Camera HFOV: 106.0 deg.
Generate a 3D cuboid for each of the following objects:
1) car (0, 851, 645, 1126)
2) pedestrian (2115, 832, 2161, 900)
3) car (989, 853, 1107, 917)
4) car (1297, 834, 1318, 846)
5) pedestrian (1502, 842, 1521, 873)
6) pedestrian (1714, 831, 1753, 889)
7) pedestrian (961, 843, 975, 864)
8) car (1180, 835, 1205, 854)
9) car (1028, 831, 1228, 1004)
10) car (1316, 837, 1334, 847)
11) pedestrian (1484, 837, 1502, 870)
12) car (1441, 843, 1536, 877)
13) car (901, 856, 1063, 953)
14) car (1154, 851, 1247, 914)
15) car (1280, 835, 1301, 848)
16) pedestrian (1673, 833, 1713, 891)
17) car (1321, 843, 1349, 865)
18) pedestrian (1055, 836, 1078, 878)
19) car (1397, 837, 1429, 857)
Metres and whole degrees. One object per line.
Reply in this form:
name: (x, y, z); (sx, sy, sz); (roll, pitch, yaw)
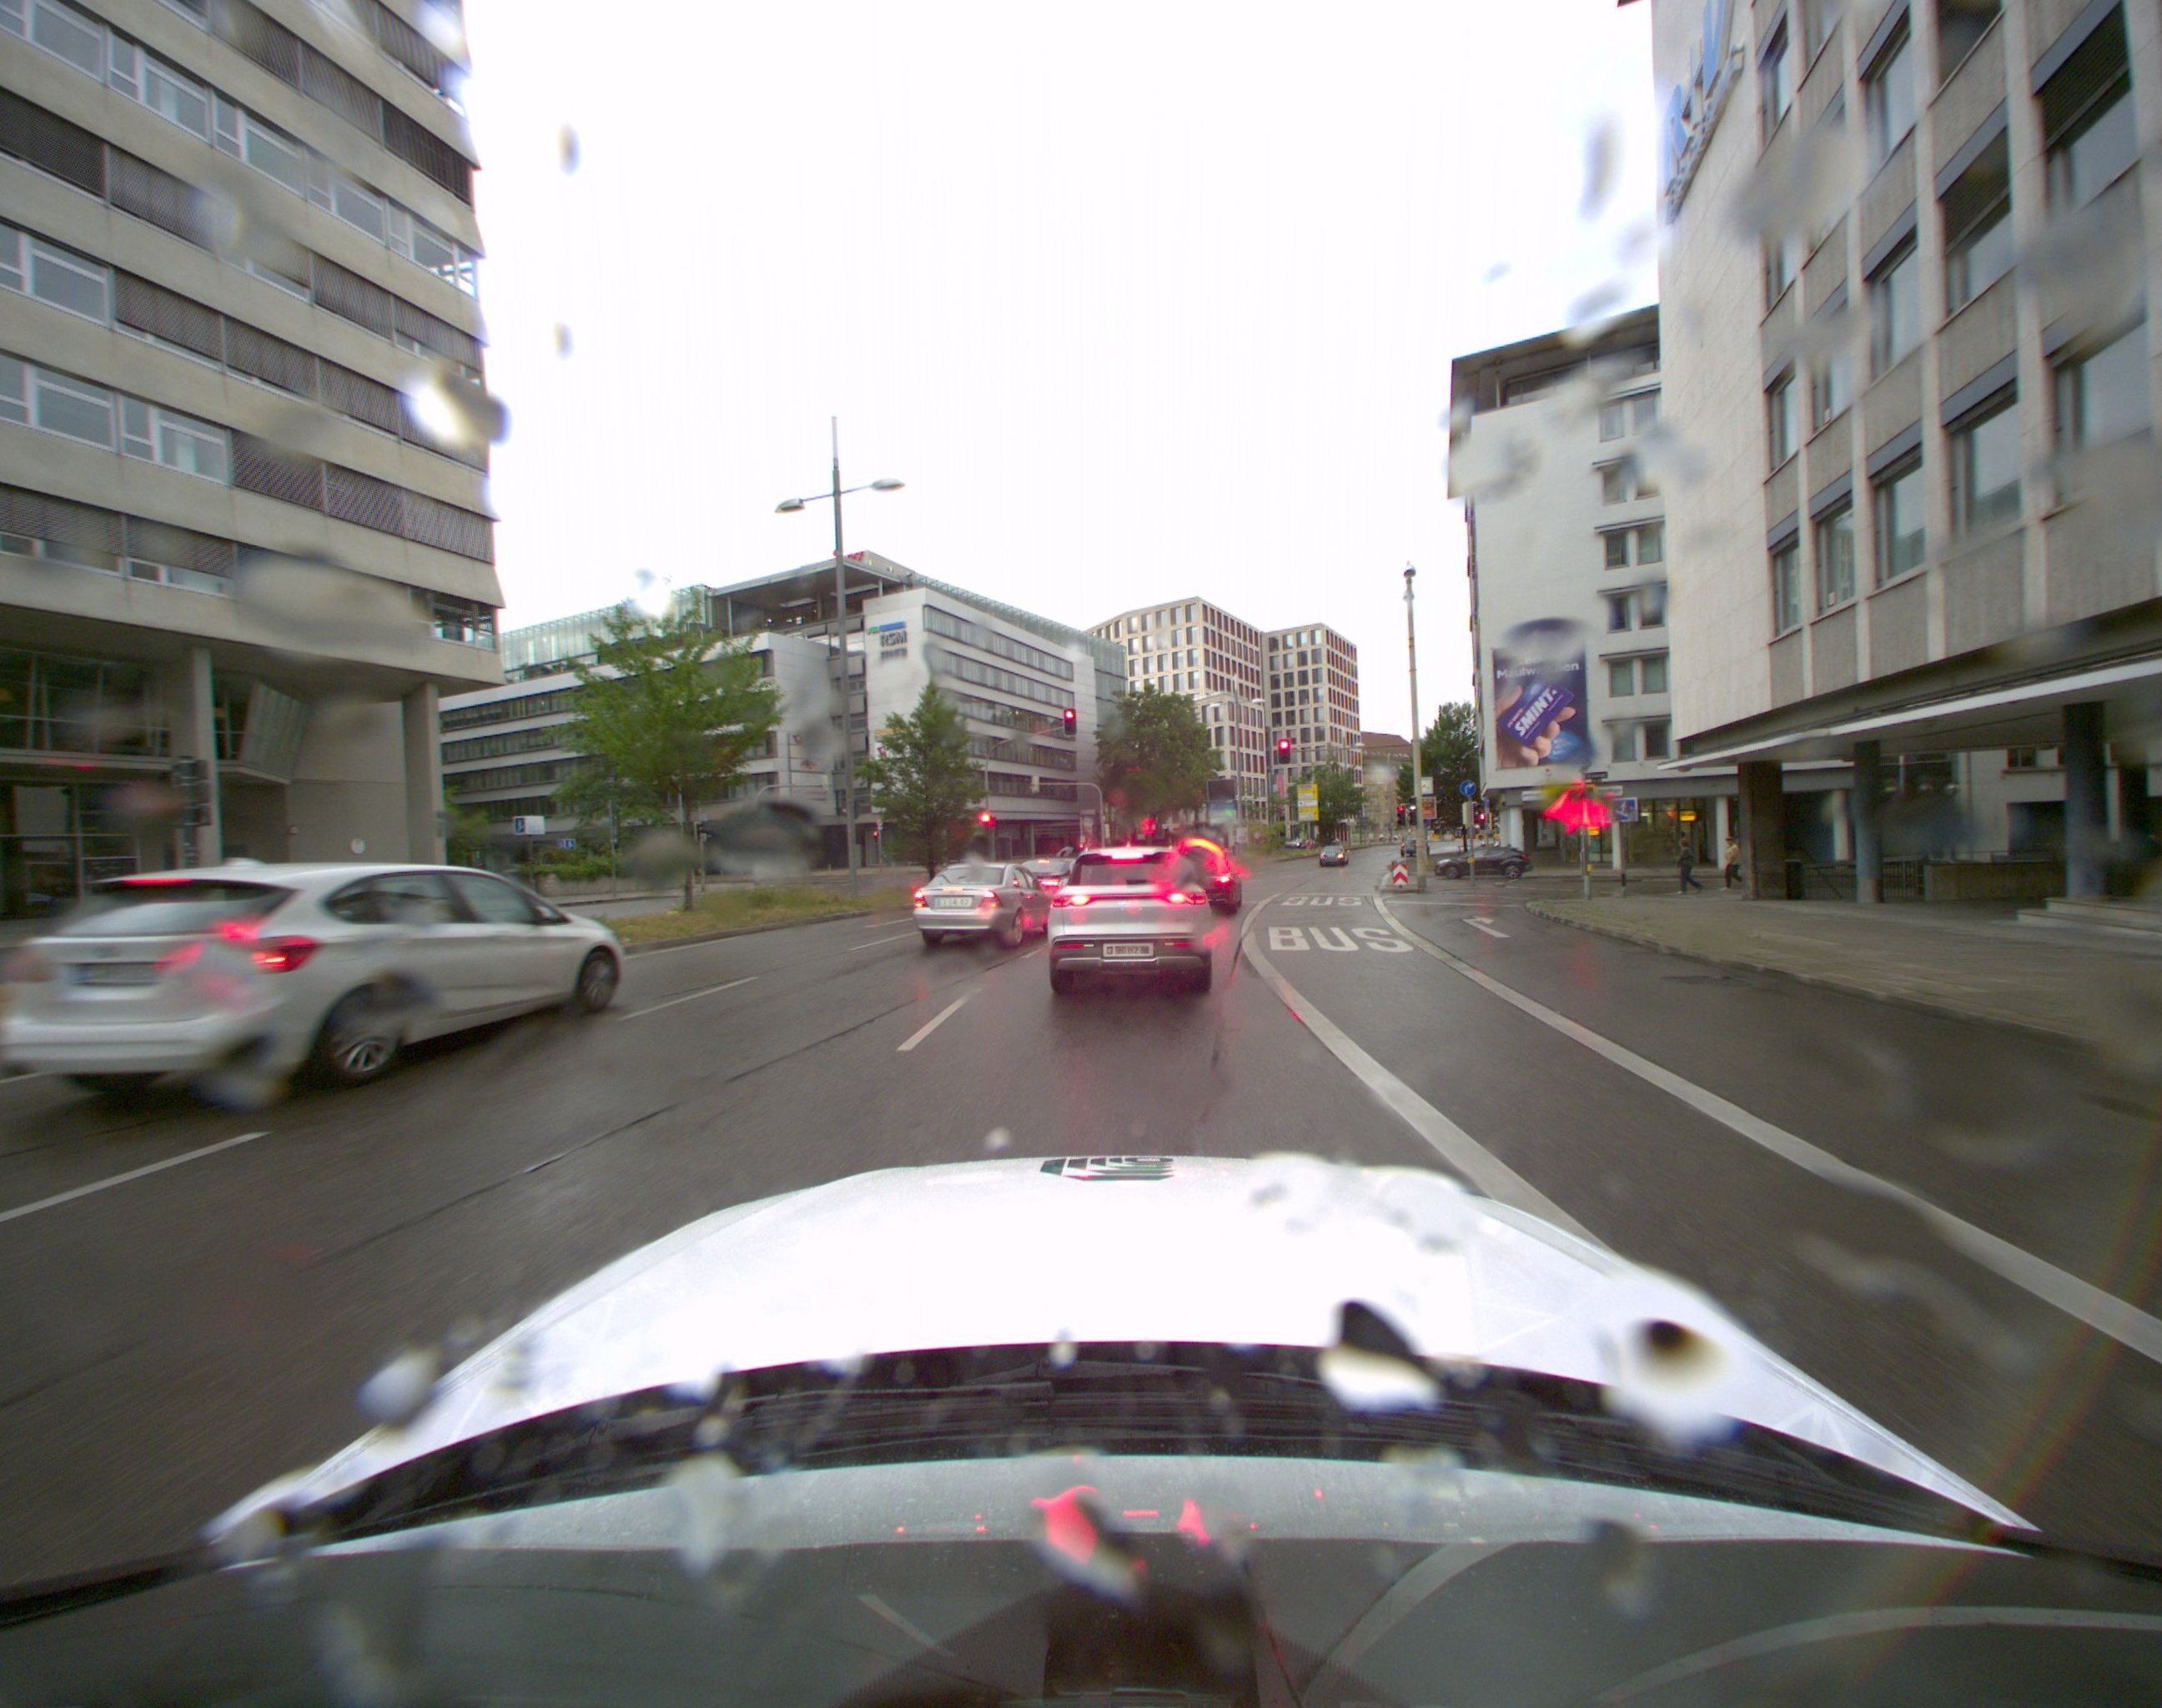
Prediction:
car: (-5.793, 0.788, 6.924); (1.777, 1.573, 4.288); (-2, 0, 1)
pedestrian: (28.388, 0.311, 21.674); (0.799, 1.755, 1.006); (0, -1, -41)
car: (-0.764, 0.766, 21.846); (1.940, 1.530, 4.017); (-1, 0, 16)
car: (34.168, -2.109, 122.751); (1.974, 1.705, 4.026); (-1, 2, 33)
pedestrian: (21.946, 0.187, 41.508); (0.721, 1.524, 0.764); (-2, -1, 20)
pedestrian: (20.806, 0.181, 25.974); (0.721, 1.798, 0.743); (-2, 0, 20)
pedestrian: (-9.420, -0.014, 67.862); (0.720, 1.727, 0.930); (-2, -1, 26)
car: (13.175, -1.124, 96.164); (1.722, 2.161, 4.518); (-1, 0, 23)
car: (0.542, 0.637, 10.525); (1.986, 1.709, 4.484); (-2, 0, 1)
car: (42.525, -2.122, 141.988); (1.974, 1.705, 4.337); (-1, 2, 32)
pedestrian: (21.286, -0.014, 42.118); (0.721, 1.668, 0.694); (-2, -1, 20)
car: (19.654, 0.282, 39.307); (3.948, 1.552, 2.013); (0, 1, 32)
car: (-1.660, 0.819, 15.161); (1.671, 1.486, 4.210); (-2, 0, 12)
car: (3.326, 0.703, 22.031); (1.940, 1.530, 4.017); (-1, 0, 16)
car: (31.901, -1.923, 123.957); (1.974, 1.705, 4.337); (-1, 2, 32)
pedestrian: (19.344, 0.243, 25.773); (0.806, 1.798, 0.714); (-2, 0, 20)
car: (18.639, -0.021, 59.752); (1.895, 1.510, 4.377); (0, 1, 18)
pedestrian: (-0.598, 0.120, 34.136); (0.919, 1.738, 0.729); (-2, 0, 0)
car: (30.143, -0.640, 73.868); (2.027, 1.765, 4.384); (0, 1, 31)
